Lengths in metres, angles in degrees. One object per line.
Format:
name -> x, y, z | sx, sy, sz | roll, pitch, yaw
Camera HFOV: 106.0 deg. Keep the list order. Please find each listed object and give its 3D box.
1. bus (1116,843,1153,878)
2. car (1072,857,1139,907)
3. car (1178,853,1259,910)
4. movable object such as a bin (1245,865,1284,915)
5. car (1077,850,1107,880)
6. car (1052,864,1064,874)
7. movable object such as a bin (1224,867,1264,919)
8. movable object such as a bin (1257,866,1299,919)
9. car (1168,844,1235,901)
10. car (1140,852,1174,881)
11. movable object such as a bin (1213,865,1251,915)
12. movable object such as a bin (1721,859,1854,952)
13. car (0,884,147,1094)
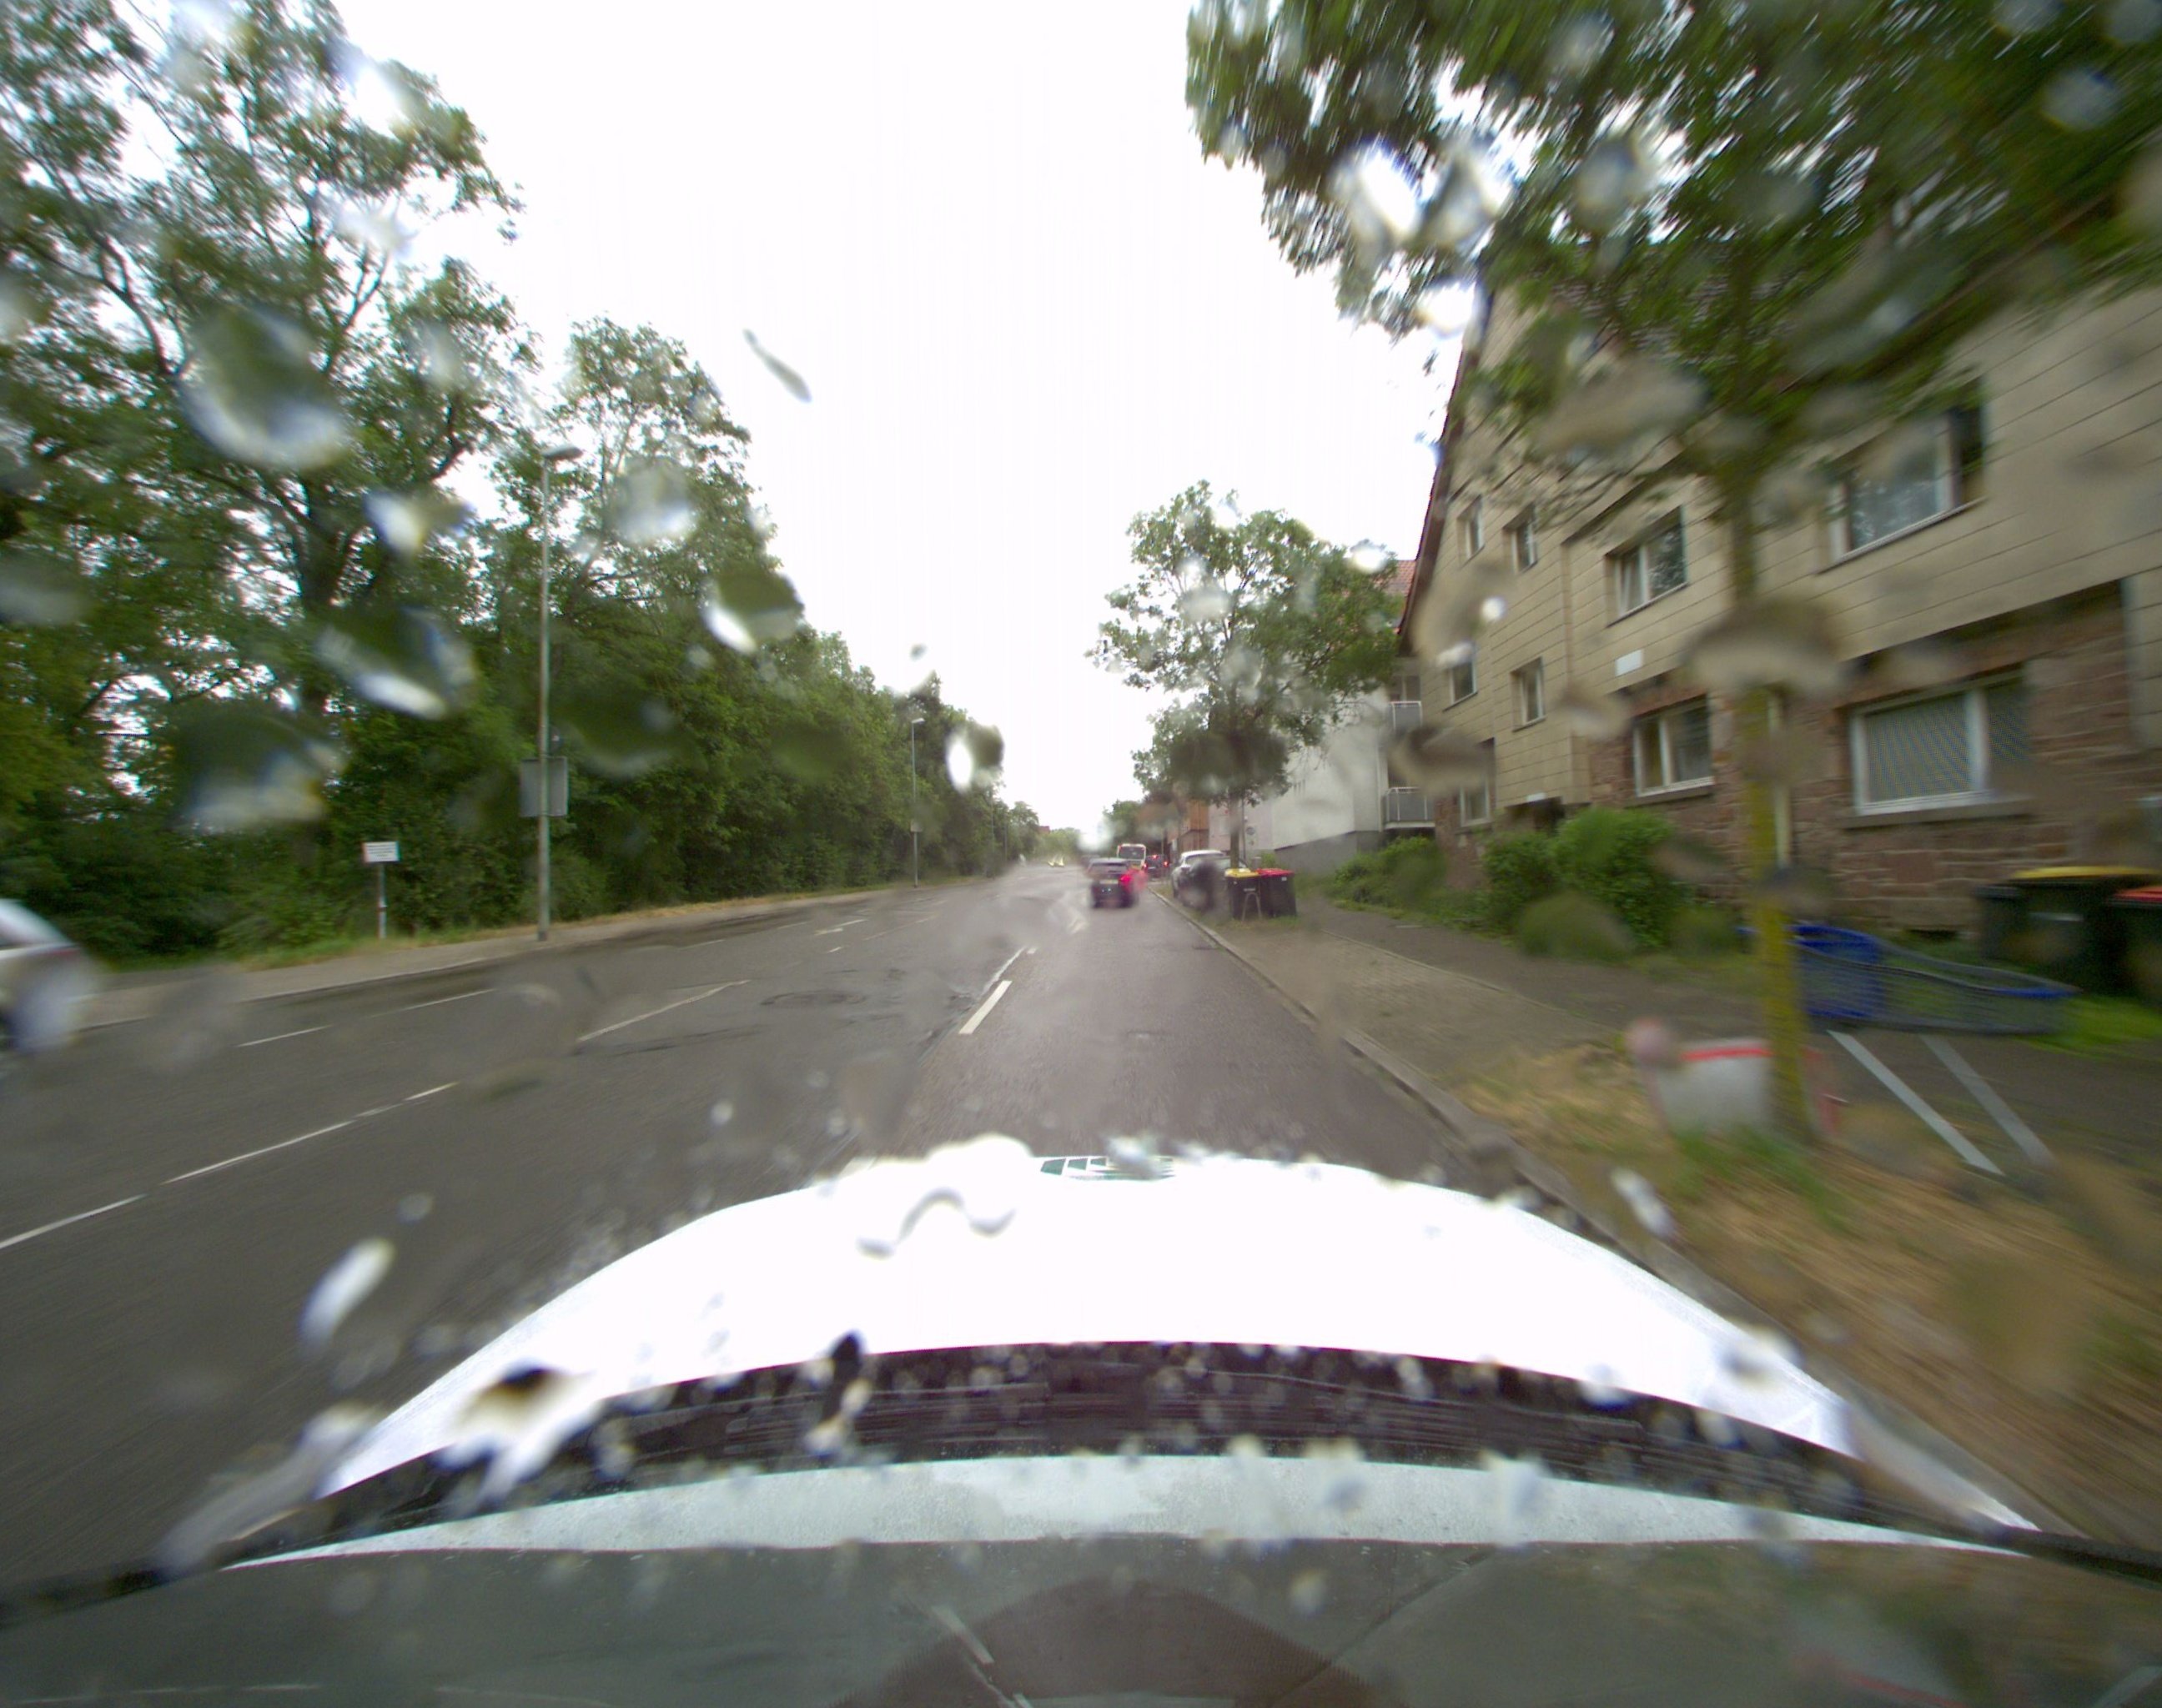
bus -> 4.784, 0.516, 71.642 | 2.609, 2.847, 8.306 | -3, 0, 7
car -> 0.739, 0.859, 26.527 | 1.987, 1.453, 3.999 | 1, 0, 0
car -> 3.864, 0.729, 23.449 | 1.636, 1.448, 3.998 | -2, 0, 0
movable object such as a bin -> 4.170, 0.812, 18.575 | 0.617, 1.050, 0.822 | -4, 0, -1
car -> 0.795, 0.740, 56.471 | 1.986, 2.013, 4.002 | -1, 0, 2
car -> -4.127, 2.689, 145.927 | 1.763, 1.533, 4.001 | -3, 0, 1
movable object such as a bin -> 3.531, 0.826, 17.682 | 0.617, 1.050, 0.822 | -4, 0, -1
movable object such as a bin -> 4.259, 0.823, 17.651 | 0.617, 1.050, 0.822 | -4, 0, -1
car -> 4.160, 0.596, 28.755 | 1.817, 1.772, 4.544 | -3, 0, 3
car -> 5.639, 0.909, 60.060 | 1.915, 1.892, 4.774 | -5, -2, 10
movable object such as a bin -> 3.433, 0.815, 18.582 | 0.617, 1.050, 0.822 | -4, 0, -1
movable object such as a bin -> 7.870, 0.555, 9.119 | 0.697, 0.965, 0.942 | 0, 1, 2
car -> -8.680, 1.036, 4.541 | 1.684, 1.482, 4.452 | -4, 0, 1
